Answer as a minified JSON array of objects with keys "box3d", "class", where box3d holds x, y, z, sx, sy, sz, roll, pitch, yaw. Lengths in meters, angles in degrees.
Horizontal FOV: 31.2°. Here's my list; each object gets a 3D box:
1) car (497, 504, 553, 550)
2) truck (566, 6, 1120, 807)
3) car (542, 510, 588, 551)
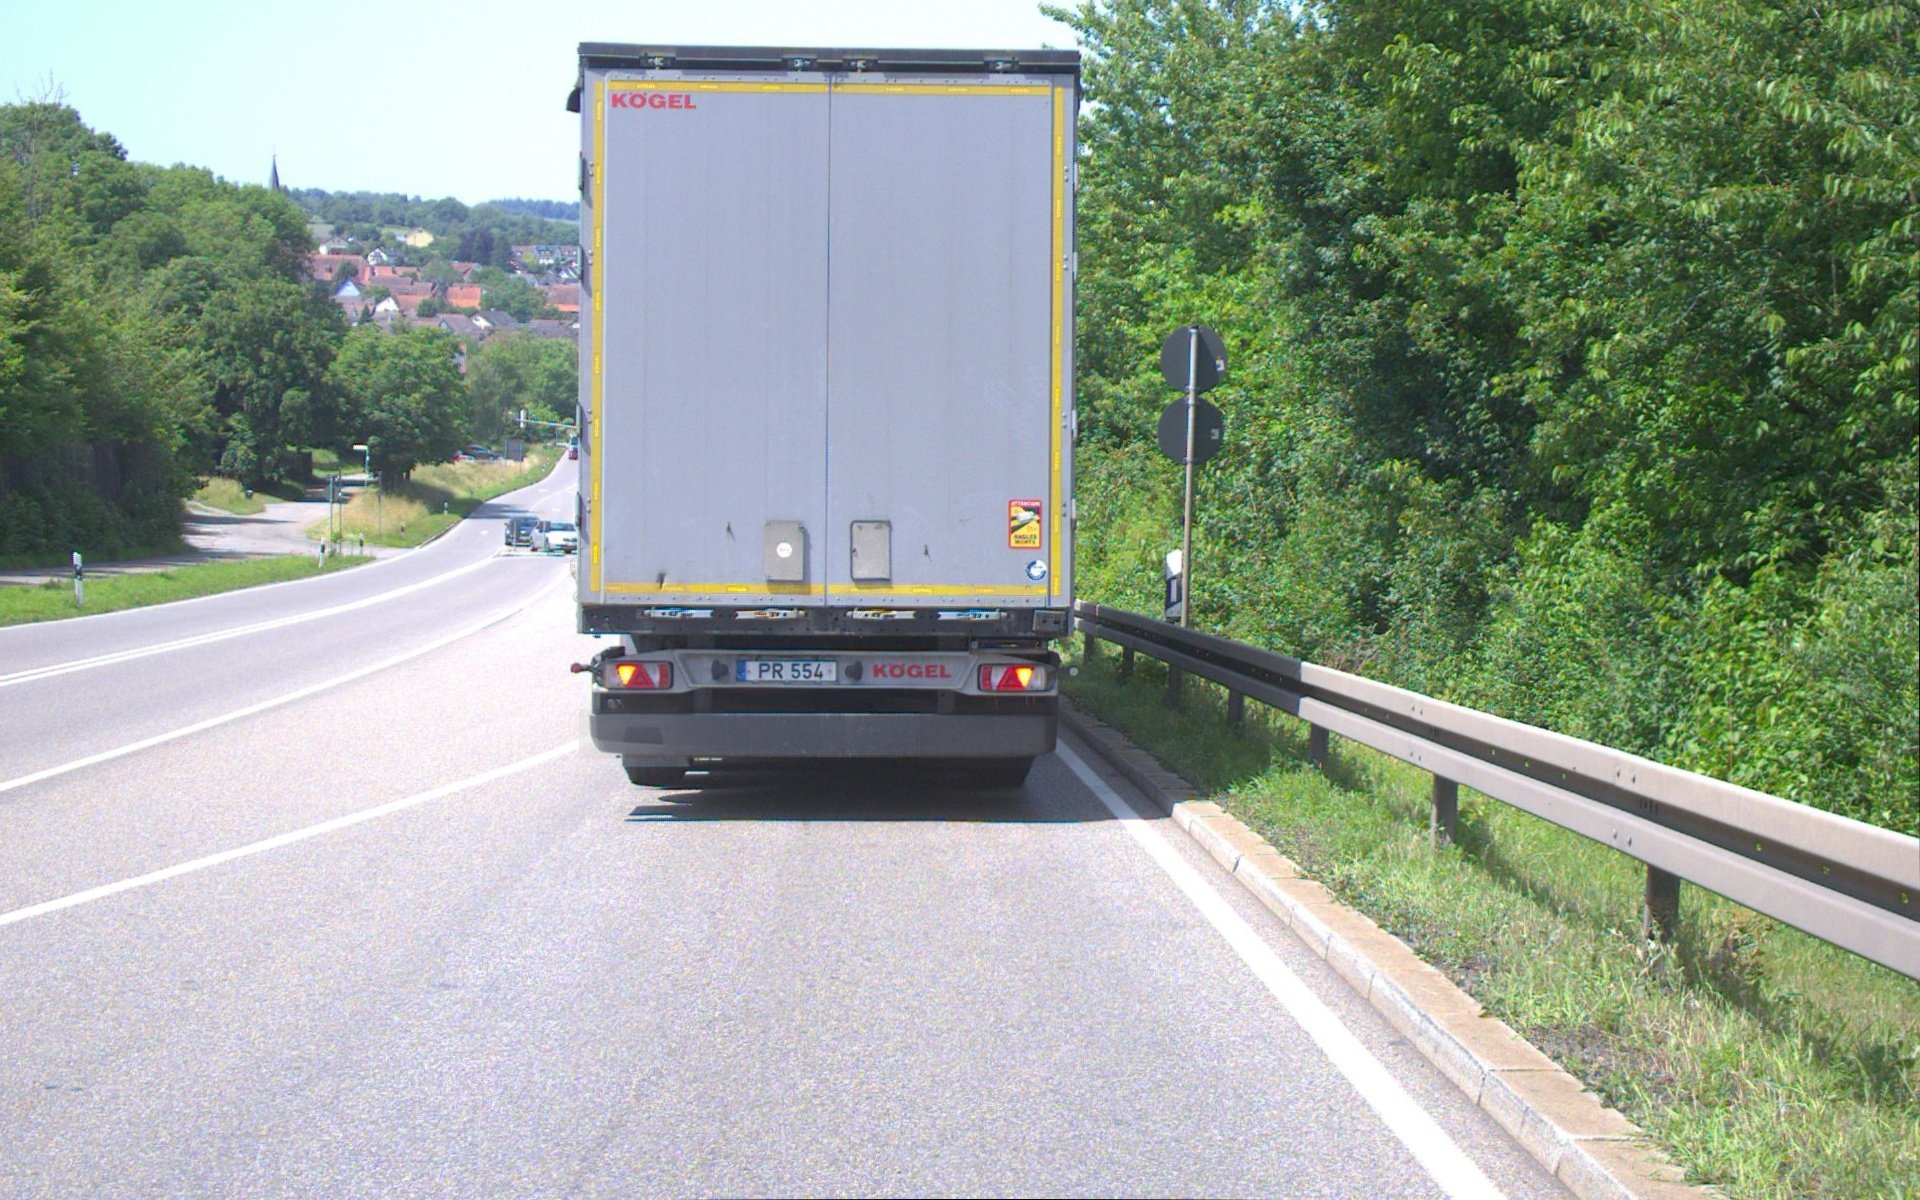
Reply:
[{"box3d":[-18.929,-3.155,149.551,1.763,1.919,3.749,1,1,-17],"class":"car"},{"box3d":[-0.735,-1.106,23.333,2.757,4.016,11.925,1,1,-1],"class":"truck"},{"box3d":[-17.824,-3.130,155.169,1.523,1.788,3.405,1,1,-16],"class":"car"}]
